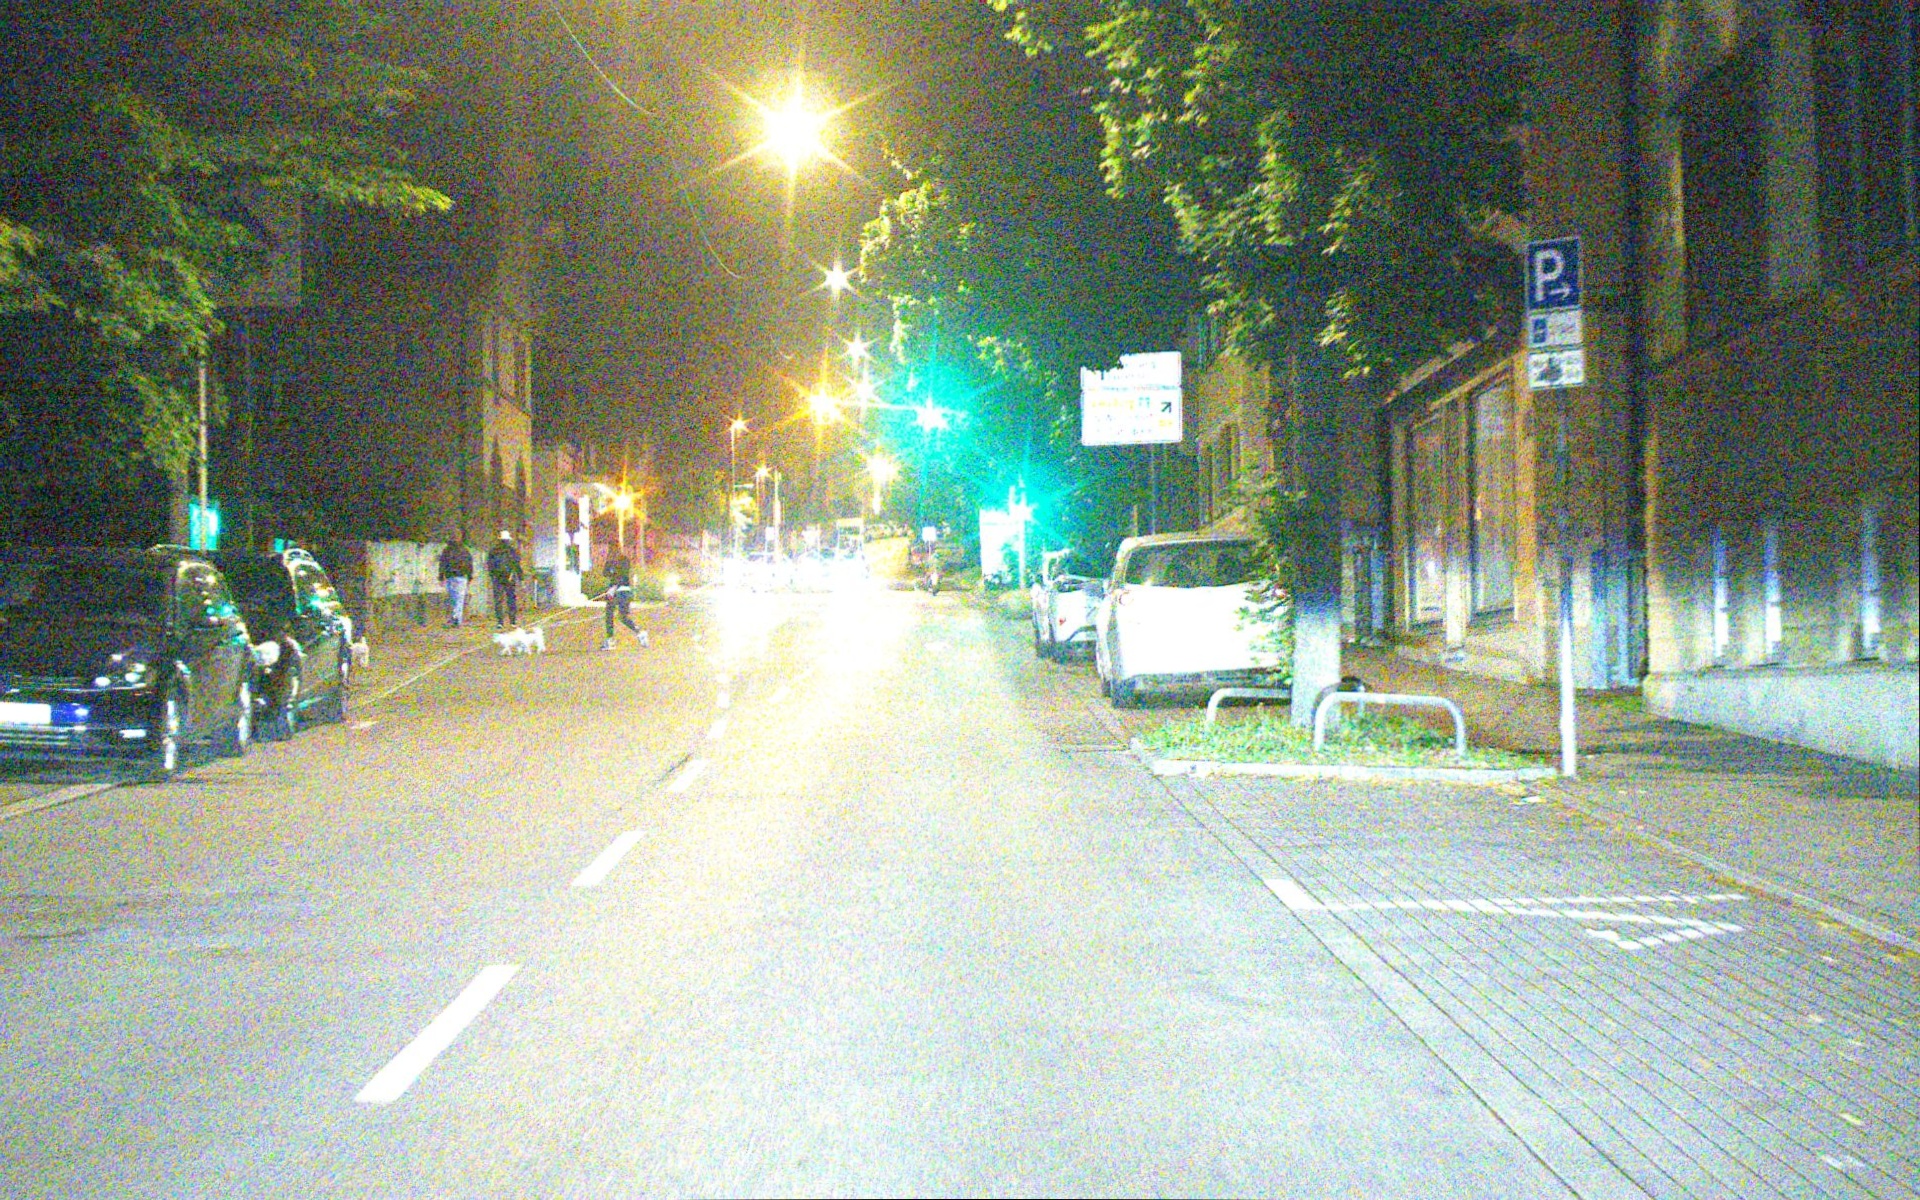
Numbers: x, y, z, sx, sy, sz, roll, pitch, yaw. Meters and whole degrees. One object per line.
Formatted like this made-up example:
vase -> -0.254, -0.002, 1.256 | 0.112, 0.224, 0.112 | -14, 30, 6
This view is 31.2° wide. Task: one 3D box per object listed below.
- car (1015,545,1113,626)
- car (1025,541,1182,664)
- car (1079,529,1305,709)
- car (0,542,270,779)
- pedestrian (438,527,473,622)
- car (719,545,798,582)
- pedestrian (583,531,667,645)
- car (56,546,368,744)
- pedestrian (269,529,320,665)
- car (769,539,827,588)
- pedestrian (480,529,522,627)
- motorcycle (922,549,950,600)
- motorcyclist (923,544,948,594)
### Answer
car -> 1.978, -0.295, 66.298 | 1.629, 1.491, 3.415 | 1, 1, -2
car -> 1.903, -0.006, 46.651 | 1.868, 1.521, 4.150 | -2, 1, -1
car -> 2.184, 0.129, 33.423 | 1.812, 1.588, 4.274 | -2, 1, -1
car -> -5.885, 0.335, 23.173 | 1.721, 1.432, 4.191 | 1, 1, -2
pedestrian -> -9.054, -0.454, 61.664 | 0.569, 1.694, 0.930 | 1, 0, -10
car -> -8.138, -1.477, 139.203 | 1.717, 1.452, 3.918 | 1, 0, 21
pedestrian -> -5.089, -0.181, 52.201 | 0.766, 1.694, 0.925 | 3, 1, 38
car -> -6.087, 0.302, 28.480 | 1.721, 1.432, 4.811 | 1, 2, -2
pedestrian -> -8.348, -0.037, 43.134 | 0.580, 1.694, 0.531 | 1, 0, -9
car -> -5.878, -1.321, 124.837 | 1.944, 1.711, 4.000 | 1, 0, -1
pedestrian -> -8.291, -0.393, 62.085 | 0.718, 1.759, 0.603 | 1, 0, -9
motorcycle -> -0.842, -0.879, 119.692 | 0.931, 1.746, 2.625 | 1, 0, -1
motorcyclist -> -0.843, -1.082, 119.689 | 0.848, 1.746, 0.805 | 1, 0, 0
